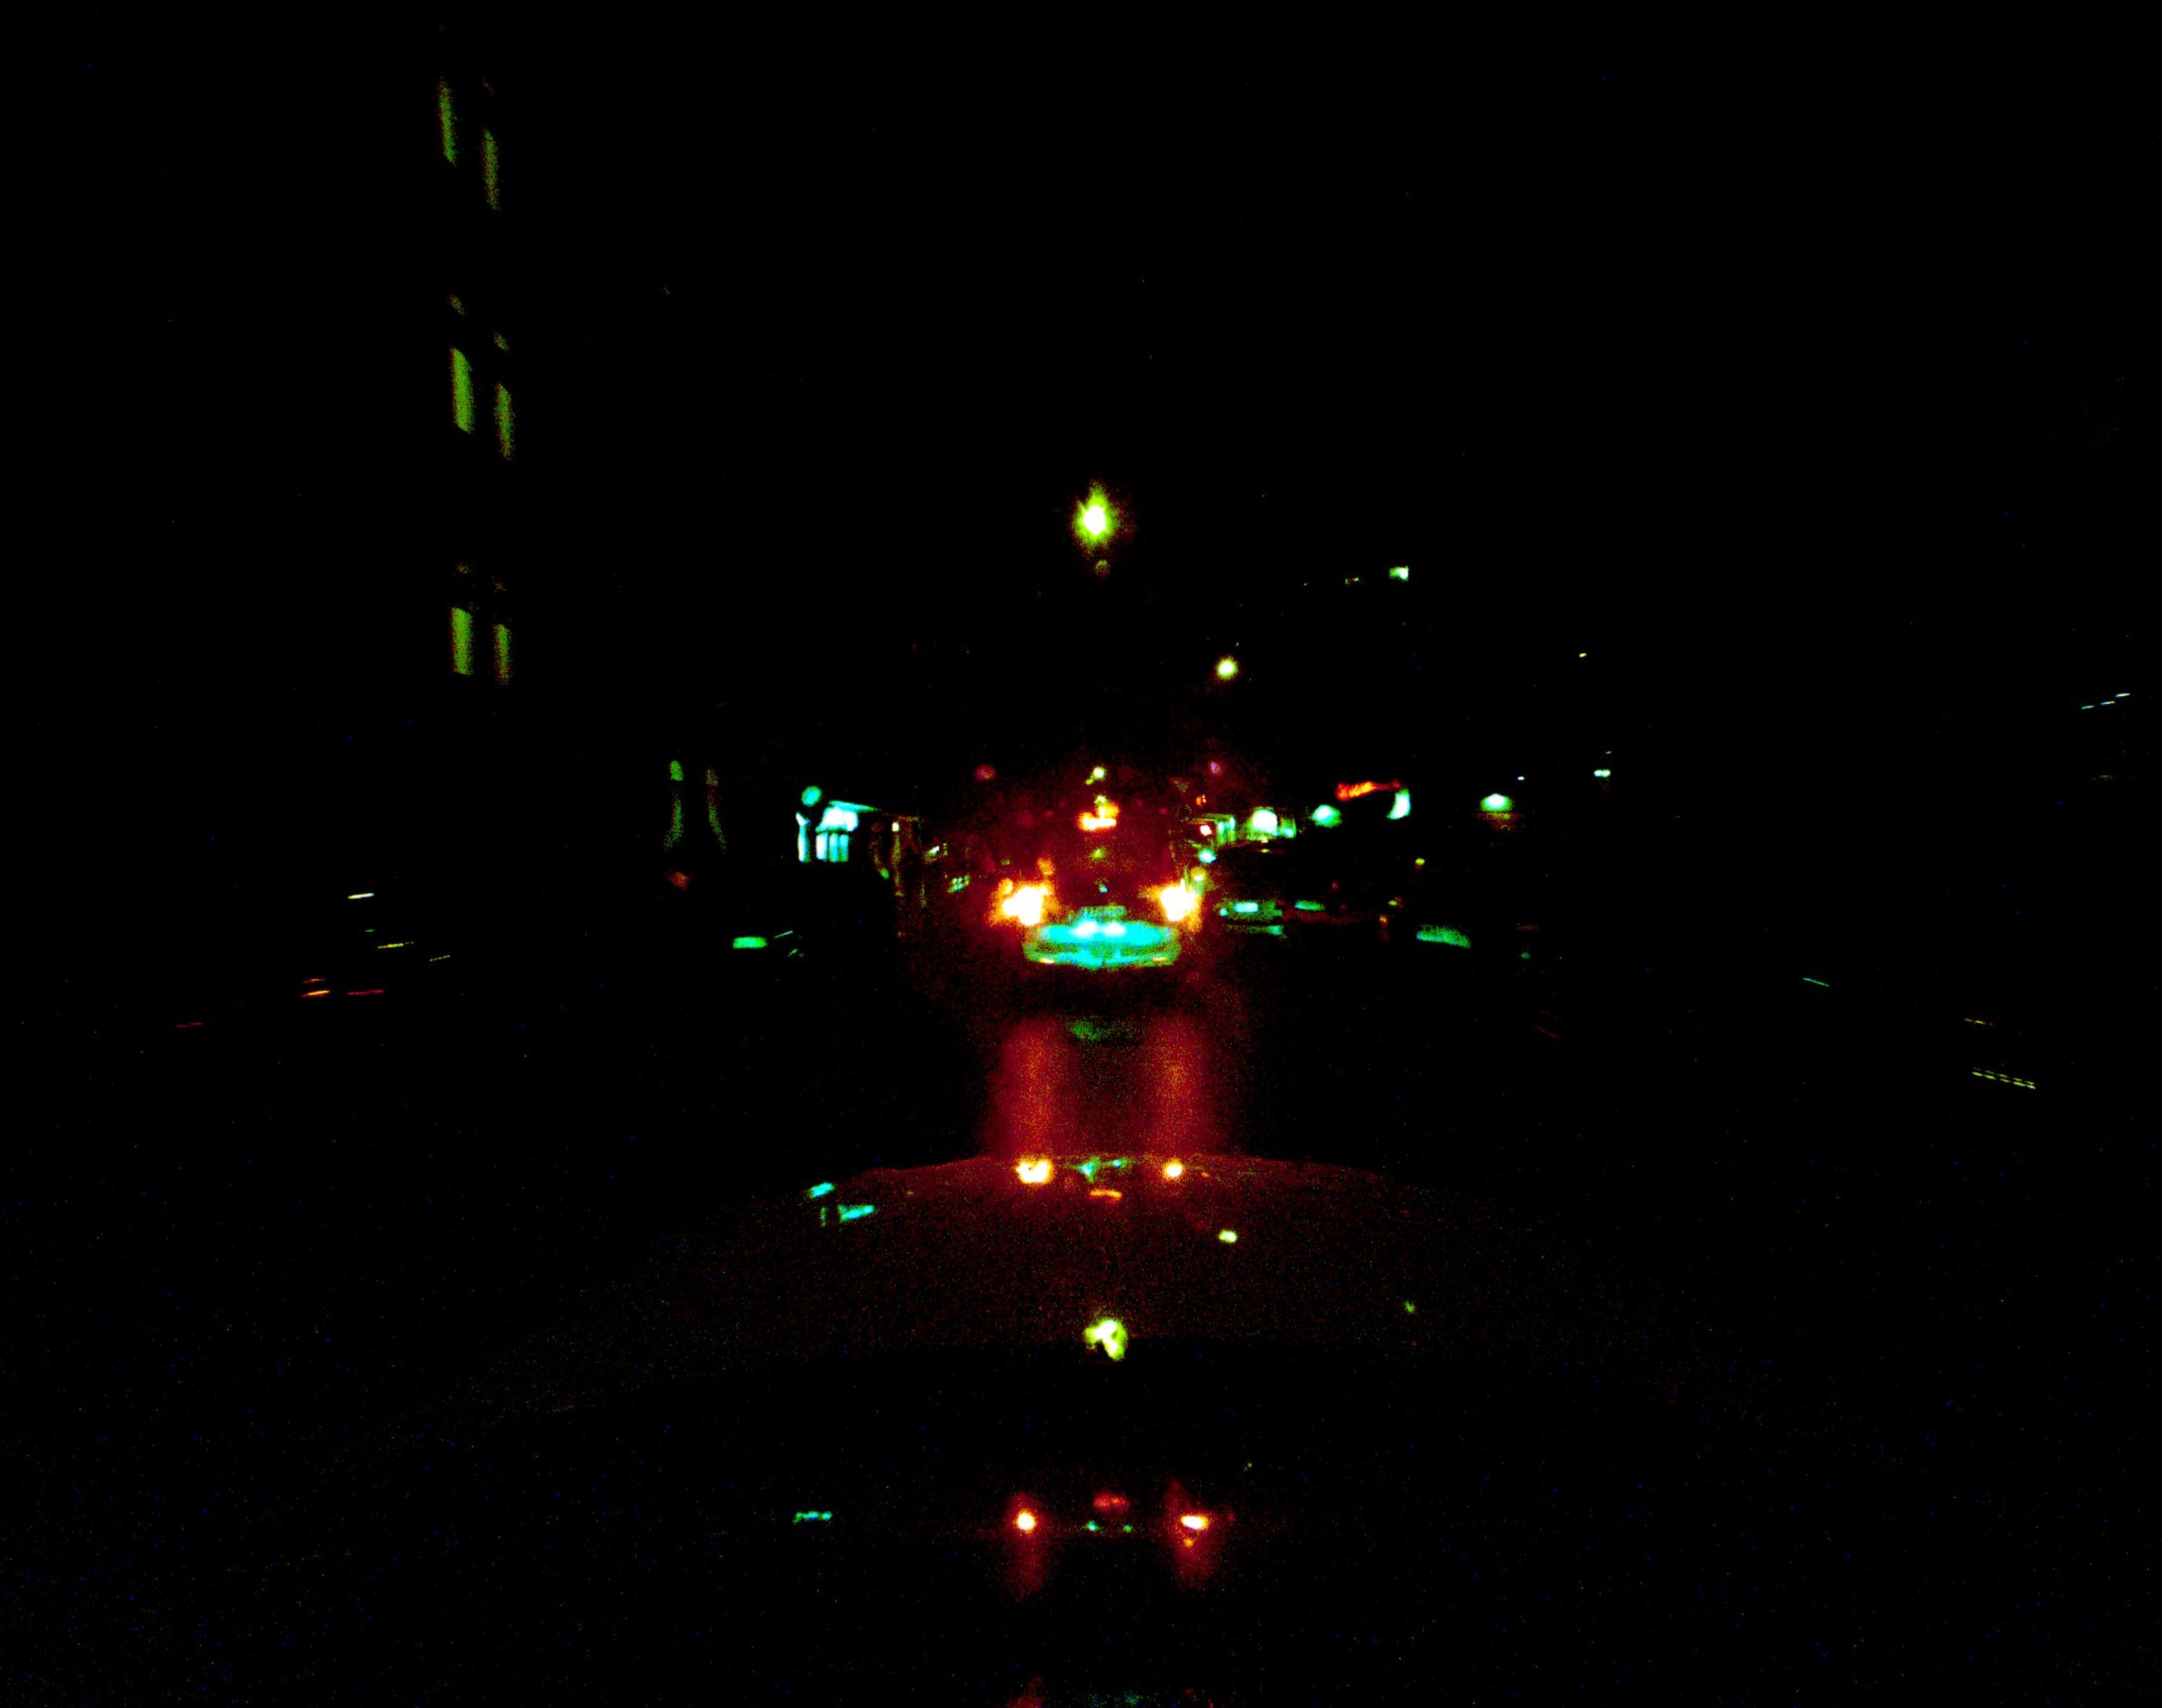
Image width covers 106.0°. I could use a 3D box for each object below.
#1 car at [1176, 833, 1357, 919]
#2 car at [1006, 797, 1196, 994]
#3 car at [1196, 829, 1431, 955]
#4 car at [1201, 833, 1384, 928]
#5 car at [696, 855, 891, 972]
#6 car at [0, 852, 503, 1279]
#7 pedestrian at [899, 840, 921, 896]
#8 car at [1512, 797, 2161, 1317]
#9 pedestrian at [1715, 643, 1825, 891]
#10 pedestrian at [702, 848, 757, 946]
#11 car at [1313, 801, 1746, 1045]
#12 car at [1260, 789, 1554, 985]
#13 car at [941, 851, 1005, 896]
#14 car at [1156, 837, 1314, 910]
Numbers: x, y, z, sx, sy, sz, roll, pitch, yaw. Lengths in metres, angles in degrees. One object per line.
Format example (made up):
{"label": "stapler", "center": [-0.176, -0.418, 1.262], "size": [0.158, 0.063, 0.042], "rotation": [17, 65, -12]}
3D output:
{"label": "car", "center": [4.336, 0.438, 18.874], "size": [4.017, 1.761, 1.860], "rotation": [-1, 0, -35]}
{"label": "car", "center": [0.278, 0.468, 10.735], "size": [1.986, 2.050, 4.001], "rotation": [-2, -1, 2]}
{"label": "car", "center": [3.733, 0.525, 12.873], "size": [3.581, 1.590, 1.588], "rotation": [-4, 0, -35]}
{"label": "car", "center": [4.360, 0.465, 16.625], "size": [3.585, 1.733, 1.671], "rotation": [-1, 0, -35]}
{"label": "car", "center": [-4.430, 0.820, 13.265], "size": [1.808, 1.557, 4.073], "rotation": [-1, 0, -2]}
{"label": "car", "center": [-4.805, 0.789, 3.603], "size": [1.651, 1.557, 4.073], "rotation": [-1, 0, -2]}
{"label": "pedestrian", "center": [-5.942, 0.487, 28.321], "size": [0.659, 1.904, 0.539], "rotation": [-1, 0, -3]}
{"label": "car", "center": [3.977, 0.553, 4.068], "size": [3.580, 1.453, 1.655], "rotation": [-4, 0, -34]}
{"label": "pedestrian", "center": [10.155, -1.245, 12.037], "size": [0.888, 3.528, 0.791], "rotation": [-1, 0, 1]}
{"label": "pedestrian", "center": [-6.302, 0.761, 14.619], "size": [0.698, 1.704, 0.539], "rotation": [-1, 0, 1]}
{"label": "car", "center": [4.285, 0.443, 7.604], "size": [4.017, 1.587, 1.860], "rotation": [-5, 1, -34]}
{"label": "car", "center": [4.113, 0.295, 10.105], "size": [3.581, 1.990, 1.588], "rotation": [-4, 0, -35]}
{"label": "car", "center": [-4.275, 0.734, 32.825], "size": [1.876, 1.685, 4.002], "rotation": [-1, 0, 2]}
{"label": "car", "center": [4.153, 0.454, 21.802], "size": [4.017, 1.761, 1.860], "rotation": [-1, 0, -35]}
